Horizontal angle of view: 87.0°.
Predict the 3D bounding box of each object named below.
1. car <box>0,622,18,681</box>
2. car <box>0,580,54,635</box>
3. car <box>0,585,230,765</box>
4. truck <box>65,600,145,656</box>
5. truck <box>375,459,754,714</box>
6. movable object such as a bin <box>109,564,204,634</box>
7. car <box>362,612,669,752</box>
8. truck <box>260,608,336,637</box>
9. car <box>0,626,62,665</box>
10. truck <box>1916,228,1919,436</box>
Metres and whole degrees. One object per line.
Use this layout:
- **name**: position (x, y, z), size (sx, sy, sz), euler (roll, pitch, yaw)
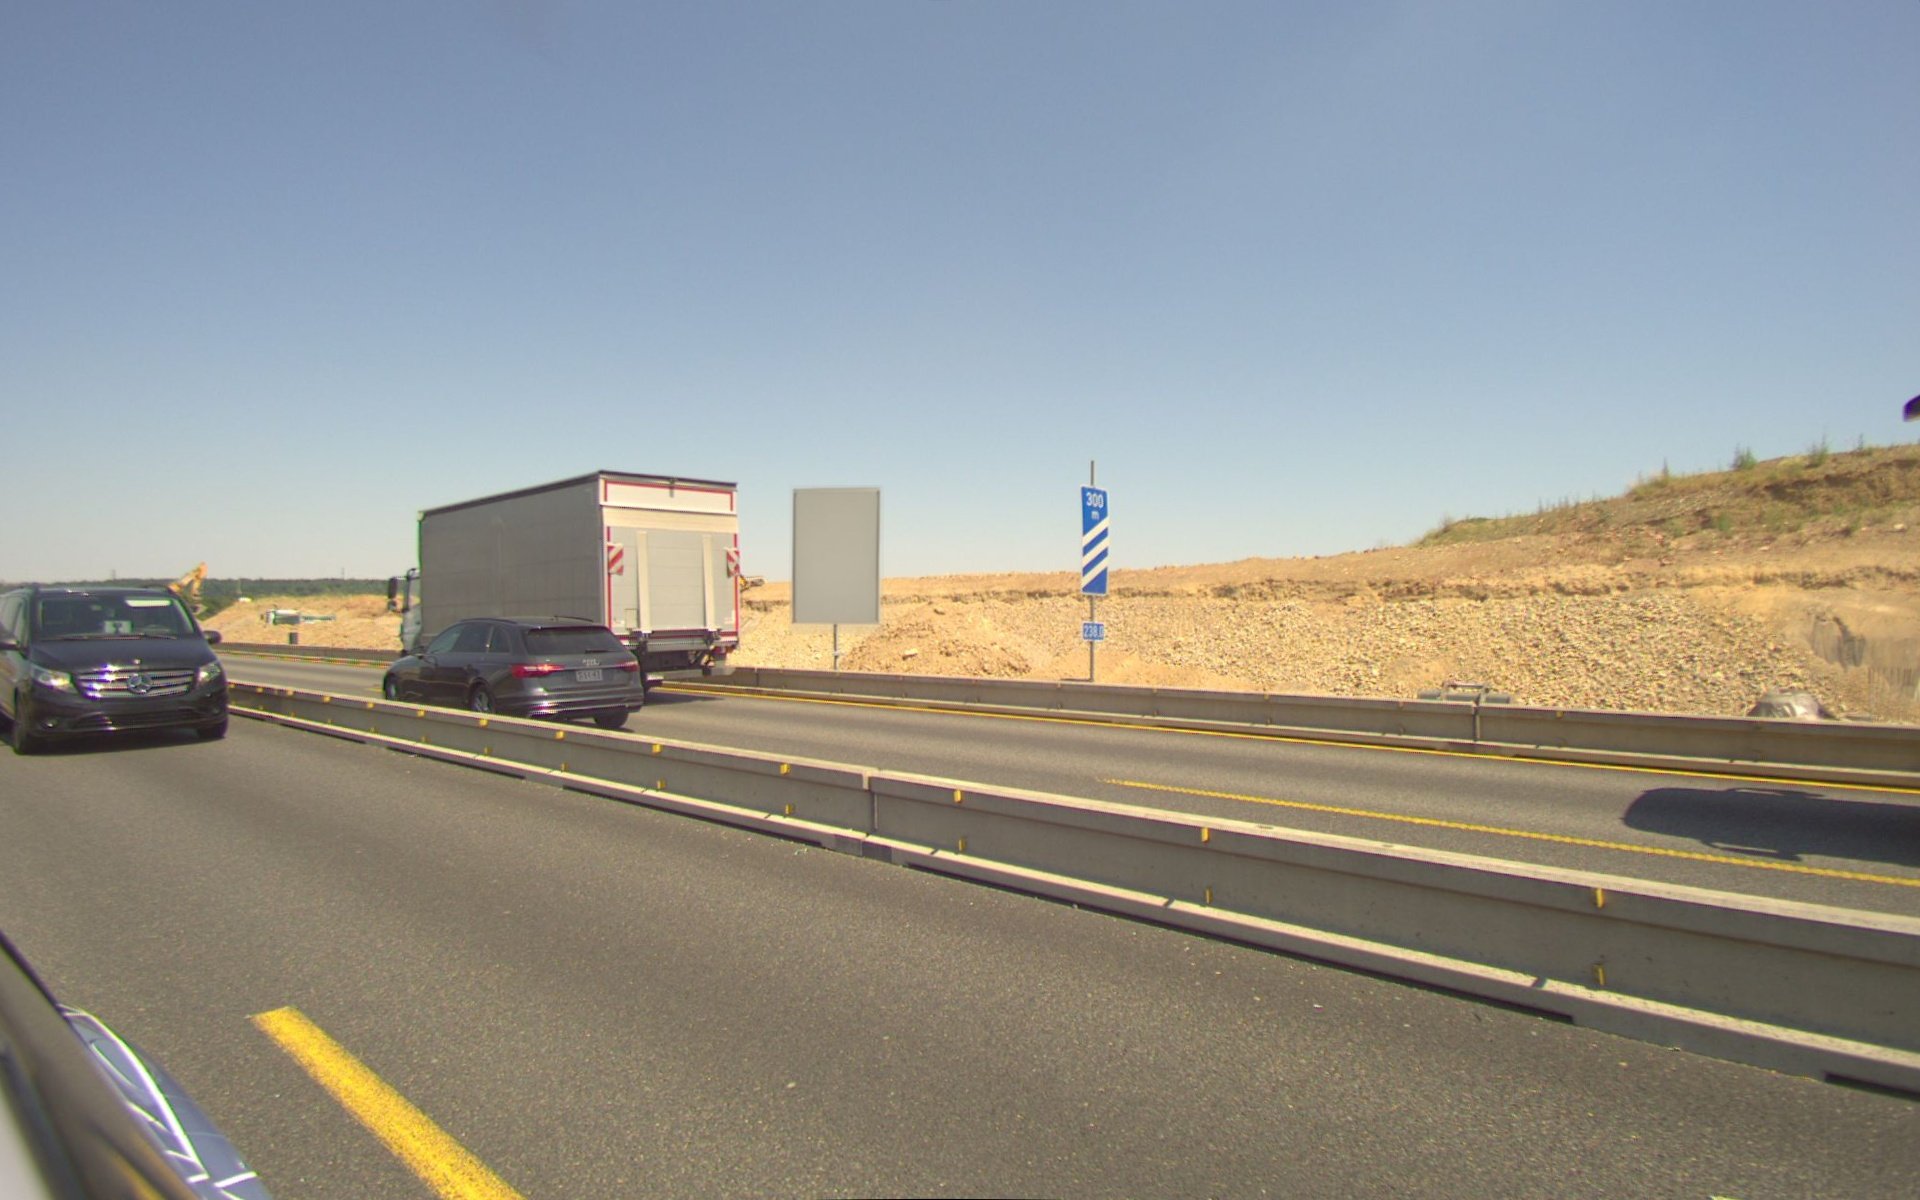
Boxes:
- **car**: position (-26.468, 1.389, 26.837), size (4.098, 1.519, 1.781), euler (-2, -1, 41)
- **car**: position (-67.535, 0.613, 72.585), size (8.088, 3.769, 2.878), euler (-2, -1, 42)
- **car**: position (-11.200, 0.829, 12.980), size (5.477, 1.865, 1.854), euler (-2, -1, 42)
- **truck**: position (-43.083, 1.445, 50.944), size (6.350, 2.589, 2.076), euler (-3, -1, 41)
- **truck**: position (-7.838, -0.153, 19.006), size (9.479, 3.744, 2.616), euler (-1, 0, 42)
- **movable object such as a bin**: position (-85.270, -0.080, 107.445), size (4.080, 7.167, 7.283), euler (-1, 0, 41)
- **car**: position (-5.796, 0.910, 12.943), size (4.498, 1.453, 1.838), euler (-1, 0, 41)
- **truck**: position (-51.275, 1.695, 78.272), size (8.797, 2.074, 2.536), euler (-1, 0, 40)
- **car**: position (-39.322, 1.898, 42.757), size (4.052, 1.495, 1.610), euler (-1, 0, 42)
- **truck**: position (8.026, -0.670, 4.830), size (4.857, 4.049, 2.818), euler (-1, -2, 42)
